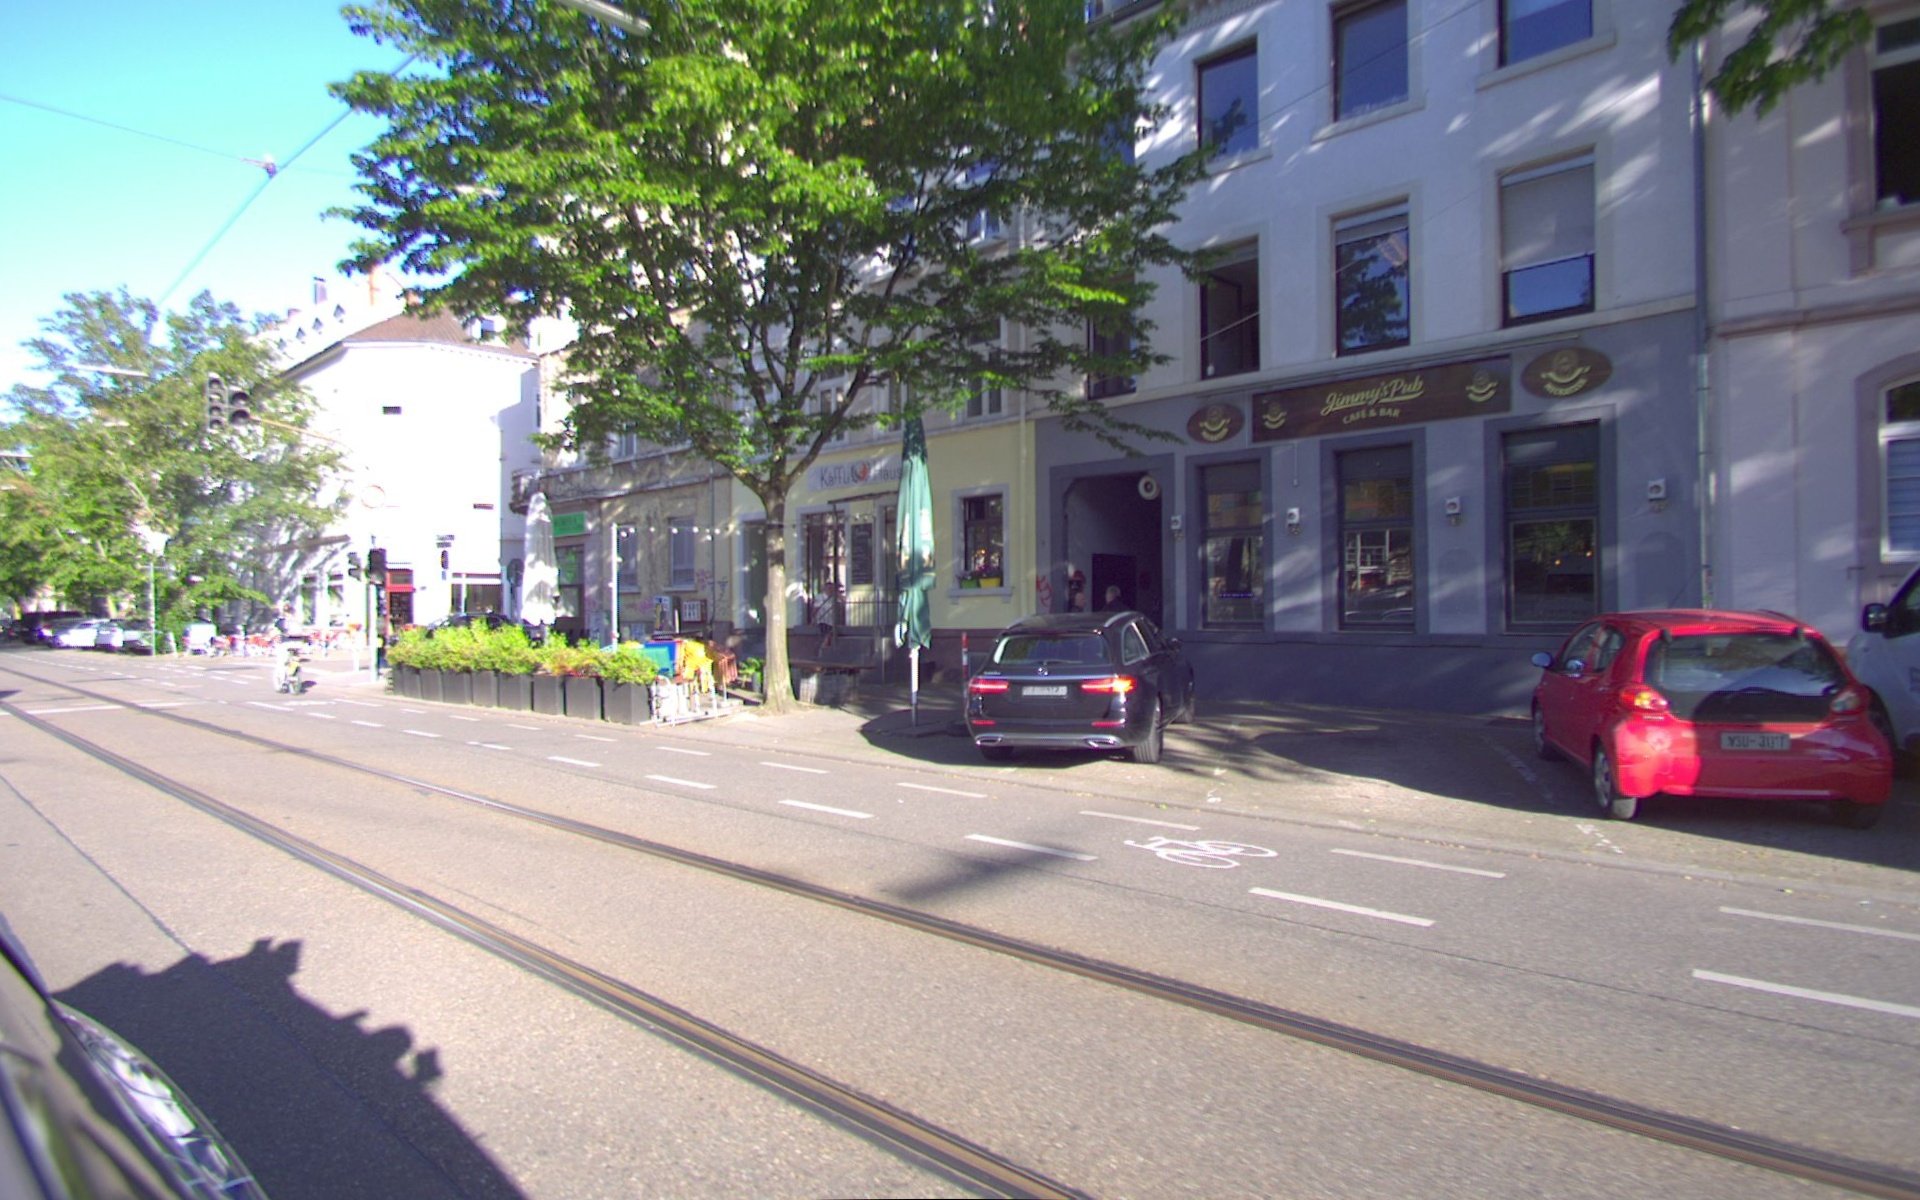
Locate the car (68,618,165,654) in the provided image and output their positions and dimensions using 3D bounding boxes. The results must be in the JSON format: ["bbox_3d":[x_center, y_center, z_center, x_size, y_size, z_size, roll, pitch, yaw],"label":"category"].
[{"bbox_3d":[-39.214,1.637,47.075,1.496,1.464,3.292,1,2,43],"label":"car"}]

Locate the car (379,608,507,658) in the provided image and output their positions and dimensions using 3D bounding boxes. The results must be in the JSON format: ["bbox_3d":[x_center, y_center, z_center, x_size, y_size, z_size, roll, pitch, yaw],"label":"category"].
[{"bbox_3d":[-19.194,1.209,37.612,3.934,1.763,2.004,1,-2,-37],"label":"car"}]

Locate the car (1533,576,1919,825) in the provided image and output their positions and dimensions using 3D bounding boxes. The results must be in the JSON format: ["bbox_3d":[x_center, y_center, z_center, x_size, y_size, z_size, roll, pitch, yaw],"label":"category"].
[{"bbox_3d":[5.753,0.599,8.046,1.485,1.464,3.319,-1,2,19],"label":"car"}]

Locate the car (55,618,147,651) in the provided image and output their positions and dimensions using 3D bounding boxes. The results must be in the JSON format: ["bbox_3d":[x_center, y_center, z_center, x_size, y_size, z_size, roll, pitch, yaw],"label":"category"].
[{"bbox_3d":[-42.218,1.668,49.764,1.496,1.464,3.292,1,2,43],"label":"car"}]

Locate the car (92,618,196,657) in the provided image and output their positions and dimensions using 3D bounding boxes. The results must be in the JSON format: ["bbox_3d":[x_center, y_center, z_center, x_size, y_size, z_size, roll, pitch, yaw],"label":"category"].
[{"bbox_3d":[-35.238,1.593,43.758,1.496,1.464,3.293,1,2,43],"label":"car"}]

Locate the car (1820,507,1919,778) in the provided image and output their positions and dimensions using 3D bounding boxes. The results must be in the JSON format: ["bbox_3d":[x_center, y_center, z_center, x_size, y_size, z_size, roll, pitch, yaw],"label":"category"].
[{"bbox_3d":[7.856,0.297,6.218,2.057,2.029,4.913,-1,-1,17],"label":"car"}]

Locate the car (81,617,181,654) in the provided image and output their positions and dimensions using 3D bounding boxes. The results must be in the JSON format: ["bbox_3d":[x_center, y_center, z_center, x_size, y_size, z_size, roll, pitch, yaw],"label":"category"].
[{"bbox_3d":[-37.275,1.578,45.551,1.496,1.464,3.292,1,2,43],"label":"car"}]

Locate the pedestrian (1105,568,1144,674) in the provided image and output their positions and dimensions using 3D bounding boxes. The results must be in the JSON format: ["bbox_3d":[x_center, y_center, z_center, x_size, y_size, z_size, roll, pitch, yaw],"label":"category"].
[{"bbox_3d":[2.880,0.364,17.734,0.509,1.825,0.482,-1,-2,37],"label":"pedestrian"}]

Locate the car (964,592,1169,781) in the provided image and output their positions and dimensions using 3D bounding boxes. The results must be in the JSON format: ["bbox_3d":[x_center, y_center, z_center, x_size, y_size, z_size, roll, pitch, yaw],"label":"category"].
[{"bbox_3d":[1.290,0.737,10.781,1.763,1.569,3.986,-1,1,11],"label":"car"}]

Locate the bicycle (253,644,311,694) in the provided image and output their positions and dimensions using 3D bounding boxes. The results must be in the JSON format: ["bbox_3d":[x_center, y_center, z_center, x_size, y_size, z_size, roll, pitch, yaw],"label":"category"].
[{"bbox_3d":[-13.745,1.385,20.499,1.755,0.943,0.445,-1,-2,38],"label":"bicycle"}]

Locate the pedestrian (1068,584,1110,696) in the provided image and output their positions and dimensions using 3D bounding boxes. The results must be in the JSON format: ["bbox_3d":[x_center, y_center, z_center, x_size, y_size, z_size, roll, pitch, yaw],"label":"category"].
[{"bbox_3d":[2.142,0.652,16.791,0.509,1.825,0.482,-1,-2,37],"label":"pedestrian"}]

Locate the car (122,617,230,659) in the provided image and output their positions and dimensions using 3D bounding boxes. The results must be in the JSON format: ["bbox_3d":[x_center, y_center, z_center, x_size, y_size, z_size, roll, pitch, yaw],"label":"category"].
[{"bbox_3d":[-31.345,1.485,40.511,3.289,1.464,1.498,-2,2,-42],"label":"car"}]

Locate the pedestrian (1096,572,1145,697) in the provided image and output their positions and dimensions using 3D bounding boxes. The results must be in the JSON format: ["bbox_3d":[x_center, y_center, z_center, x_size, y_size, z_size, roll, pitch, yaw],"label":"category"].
[{"bbox_3d":[2.485,0.527,15.657,0.591,1.900,0.448,-1,-2,41],"label":"pedestrian"}]

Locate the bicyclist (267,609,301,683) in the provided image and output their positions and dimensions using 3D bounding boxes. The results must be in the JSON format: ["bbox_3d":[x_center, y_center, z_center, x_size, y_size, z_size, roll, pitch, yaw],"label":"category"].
[{"bbox_3d":[-13.656,0.923,20.444,0.590,1.482,0.414,-1,-2,39],"label":"bicyclist"}]
